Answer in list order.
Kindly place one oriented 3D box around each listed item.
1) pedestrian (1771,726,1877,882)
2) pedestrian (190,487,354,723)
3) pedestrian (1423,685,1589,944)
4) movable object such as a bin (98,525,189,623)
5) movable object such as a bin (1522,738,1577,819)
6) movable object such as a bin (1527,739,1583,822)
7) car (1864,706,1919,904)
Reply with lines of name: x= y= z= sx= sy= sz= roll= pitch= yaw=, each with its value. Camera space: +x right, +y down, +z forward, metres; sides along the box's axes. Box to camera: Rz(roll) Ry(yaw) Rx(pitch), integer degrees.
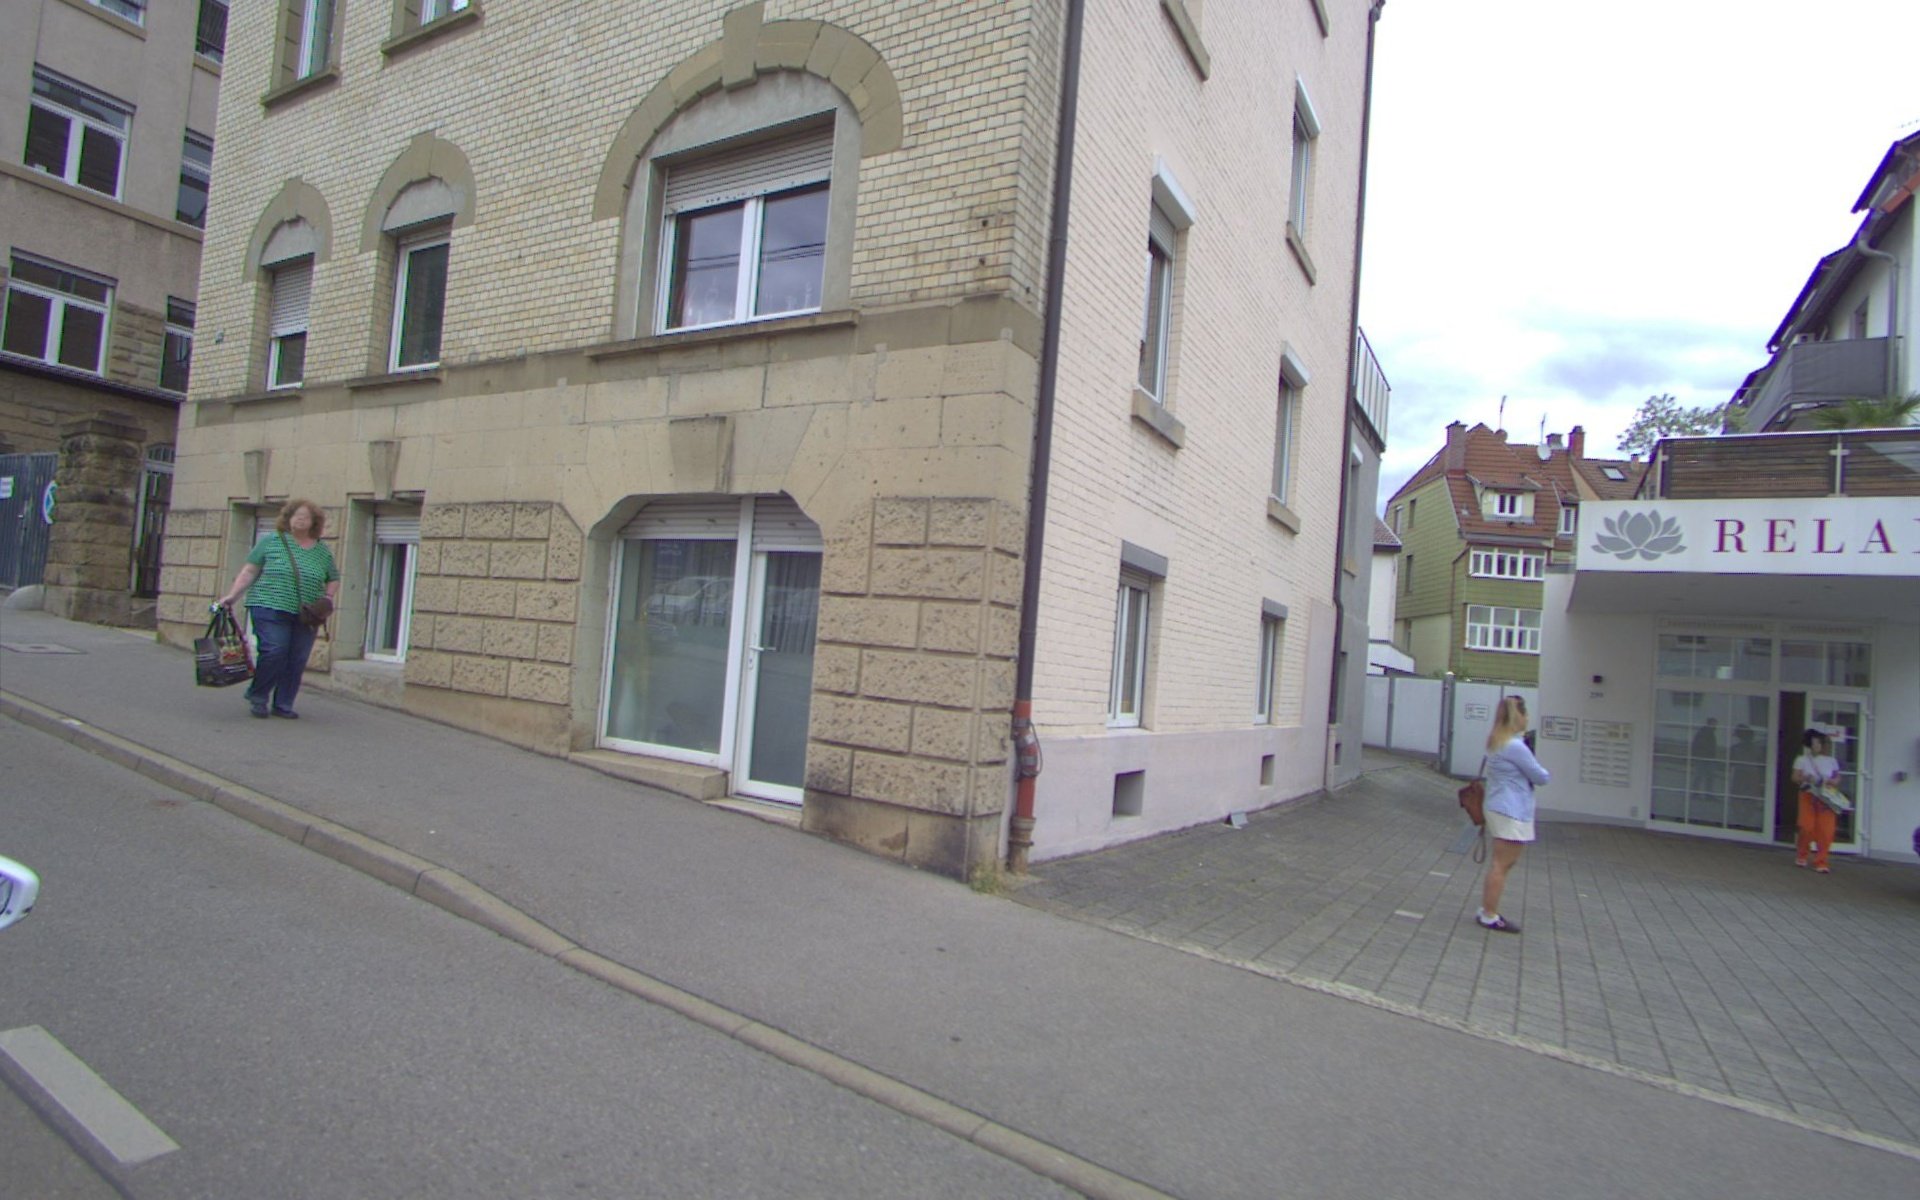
pedestrian: x=10.247 y=2.384 z=11.961 sx=0.696 sy=1.674 sz=0.762 roll=7 pitch=-1 yaw=32
pedestrian: x=-5.346 y=0.050 z=7.823 sx=0.866 sy=1.707 sz=0.656 roll=6 pitch=1 yaw=-41
pedestrian: x=3.733 y=1.432 z=6.920 sx=0.673 sy=1.600 sz=0.560 roll=7 pitch=-1 yaw=5
movable object such as a bin: x=-11.320 y=-0.360 z=13.959 sx=0.595 sy=1.232 sz=0.695 roll=7 pitch=-1 yaw=31
movable object such as a bin: x=9.481 y=2.855 z=16.198 sx=0.699 sy=1.196 sz=0.517 roll=1 pitch=-4 yaw=25
movable object such as a bin: x=9.266 y=2.803 z=15.681 sx=0.699 sy=1.196 sz=0.517 roll=1 pitch=-4 yaw=25
car: x=11.721 y=2.276 z=9.209 sx=4.624 sy=1.933 sz=1.999 roll=7 pitch=-2 yaw=30
